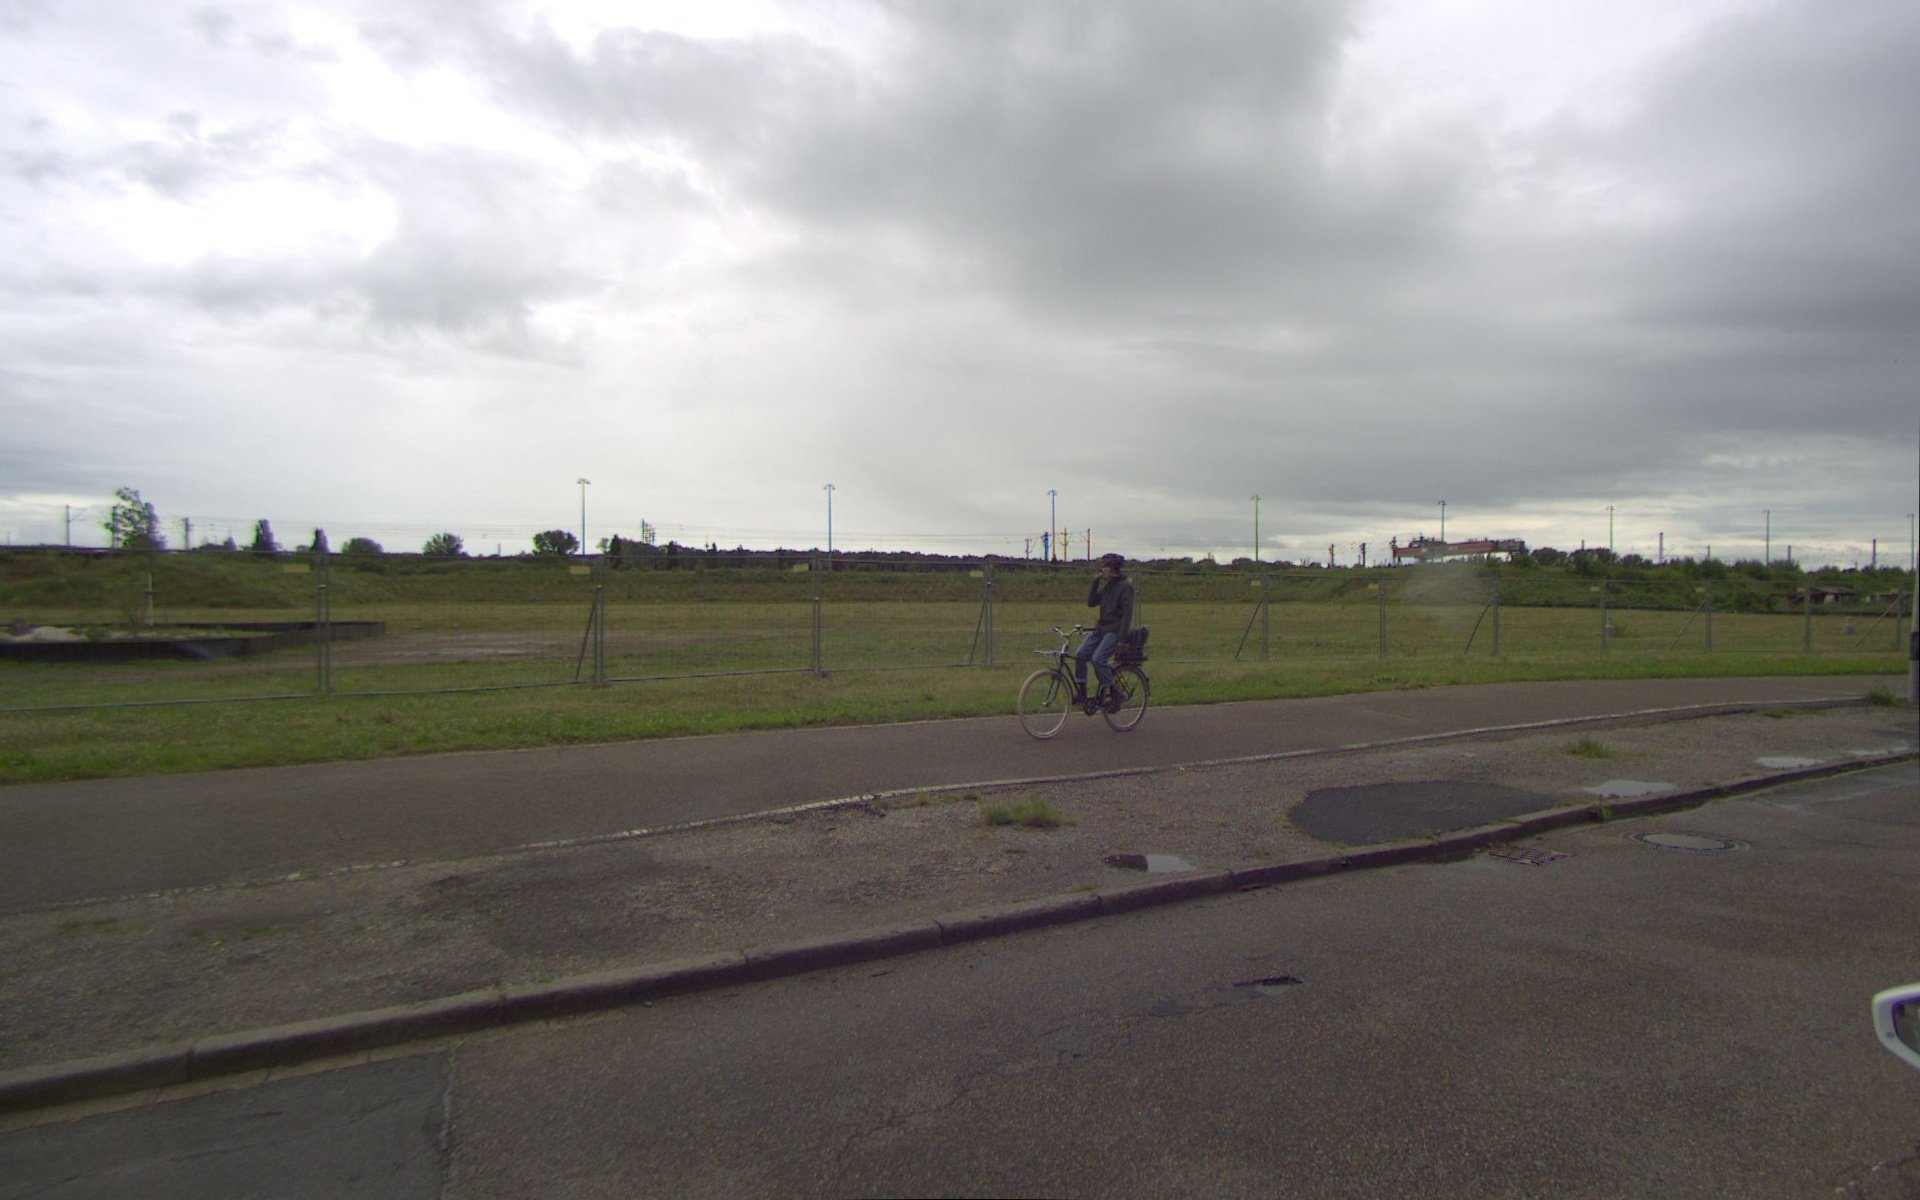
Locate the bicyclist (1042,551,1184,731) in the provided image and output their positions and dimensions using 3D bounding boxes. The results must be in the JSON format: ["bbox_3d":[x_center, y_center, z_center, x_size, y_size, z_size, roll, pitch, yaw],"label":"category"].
[{"bbox_3d":[1.673,0.408,10.981,1.315,1.846,0.823,-1,1,-31],"label":"bicyclist"}]

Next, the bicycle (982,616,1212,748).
[{"bbox_3d":[1.526,0.824,10.909,2.527,1.220,0.815,-1,1,-31],"label":"bicycle"}]
